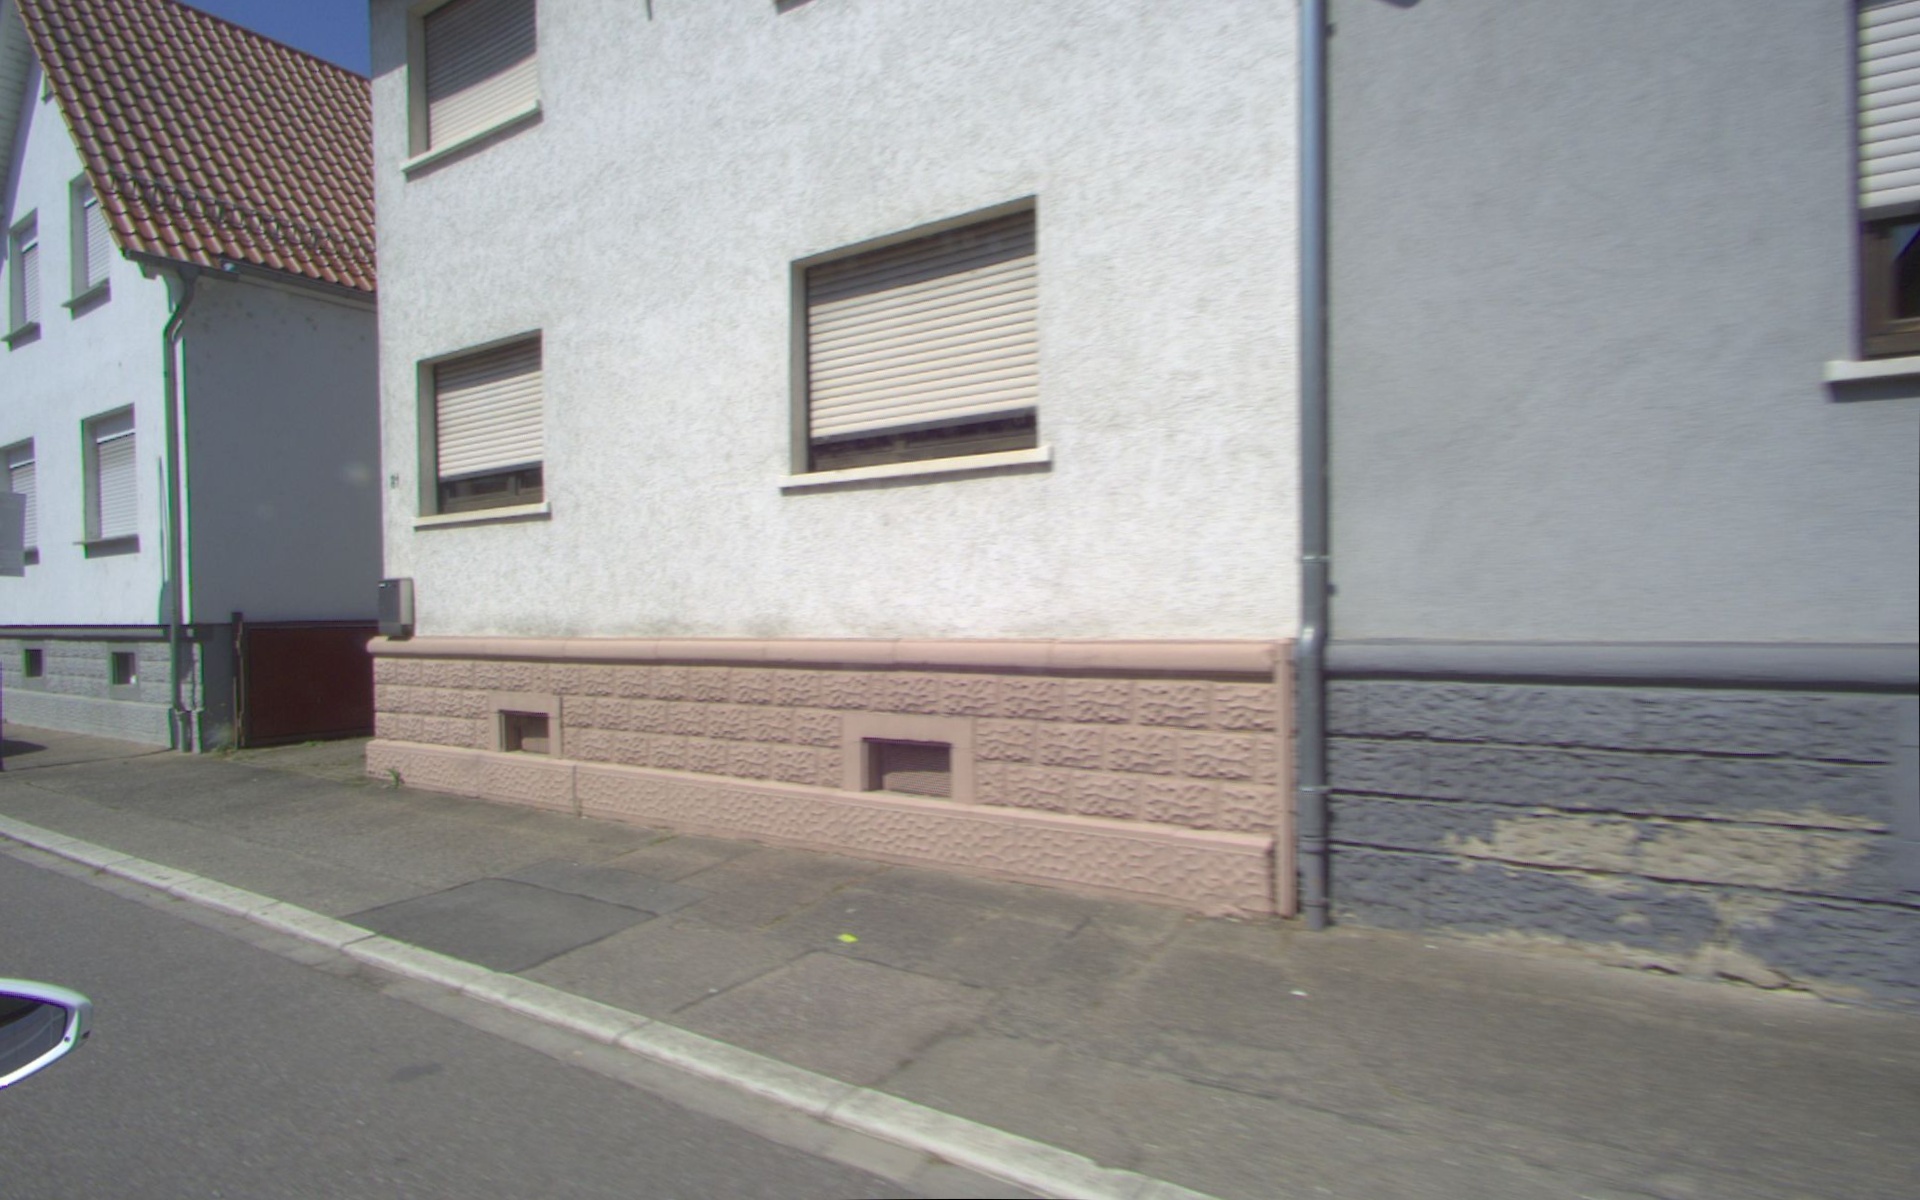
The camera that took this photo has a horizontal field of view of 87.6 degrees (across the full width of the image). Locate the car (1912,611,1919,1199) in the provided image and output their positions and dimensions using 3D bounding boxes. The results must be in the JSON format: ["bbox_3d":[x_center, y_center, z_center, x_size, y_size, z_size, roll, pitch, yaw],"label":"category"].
[{"bbox_3d":[3.196,0.719,0.548,3.605,1.441,1.684,-1,0,33],"label":"car"}]
